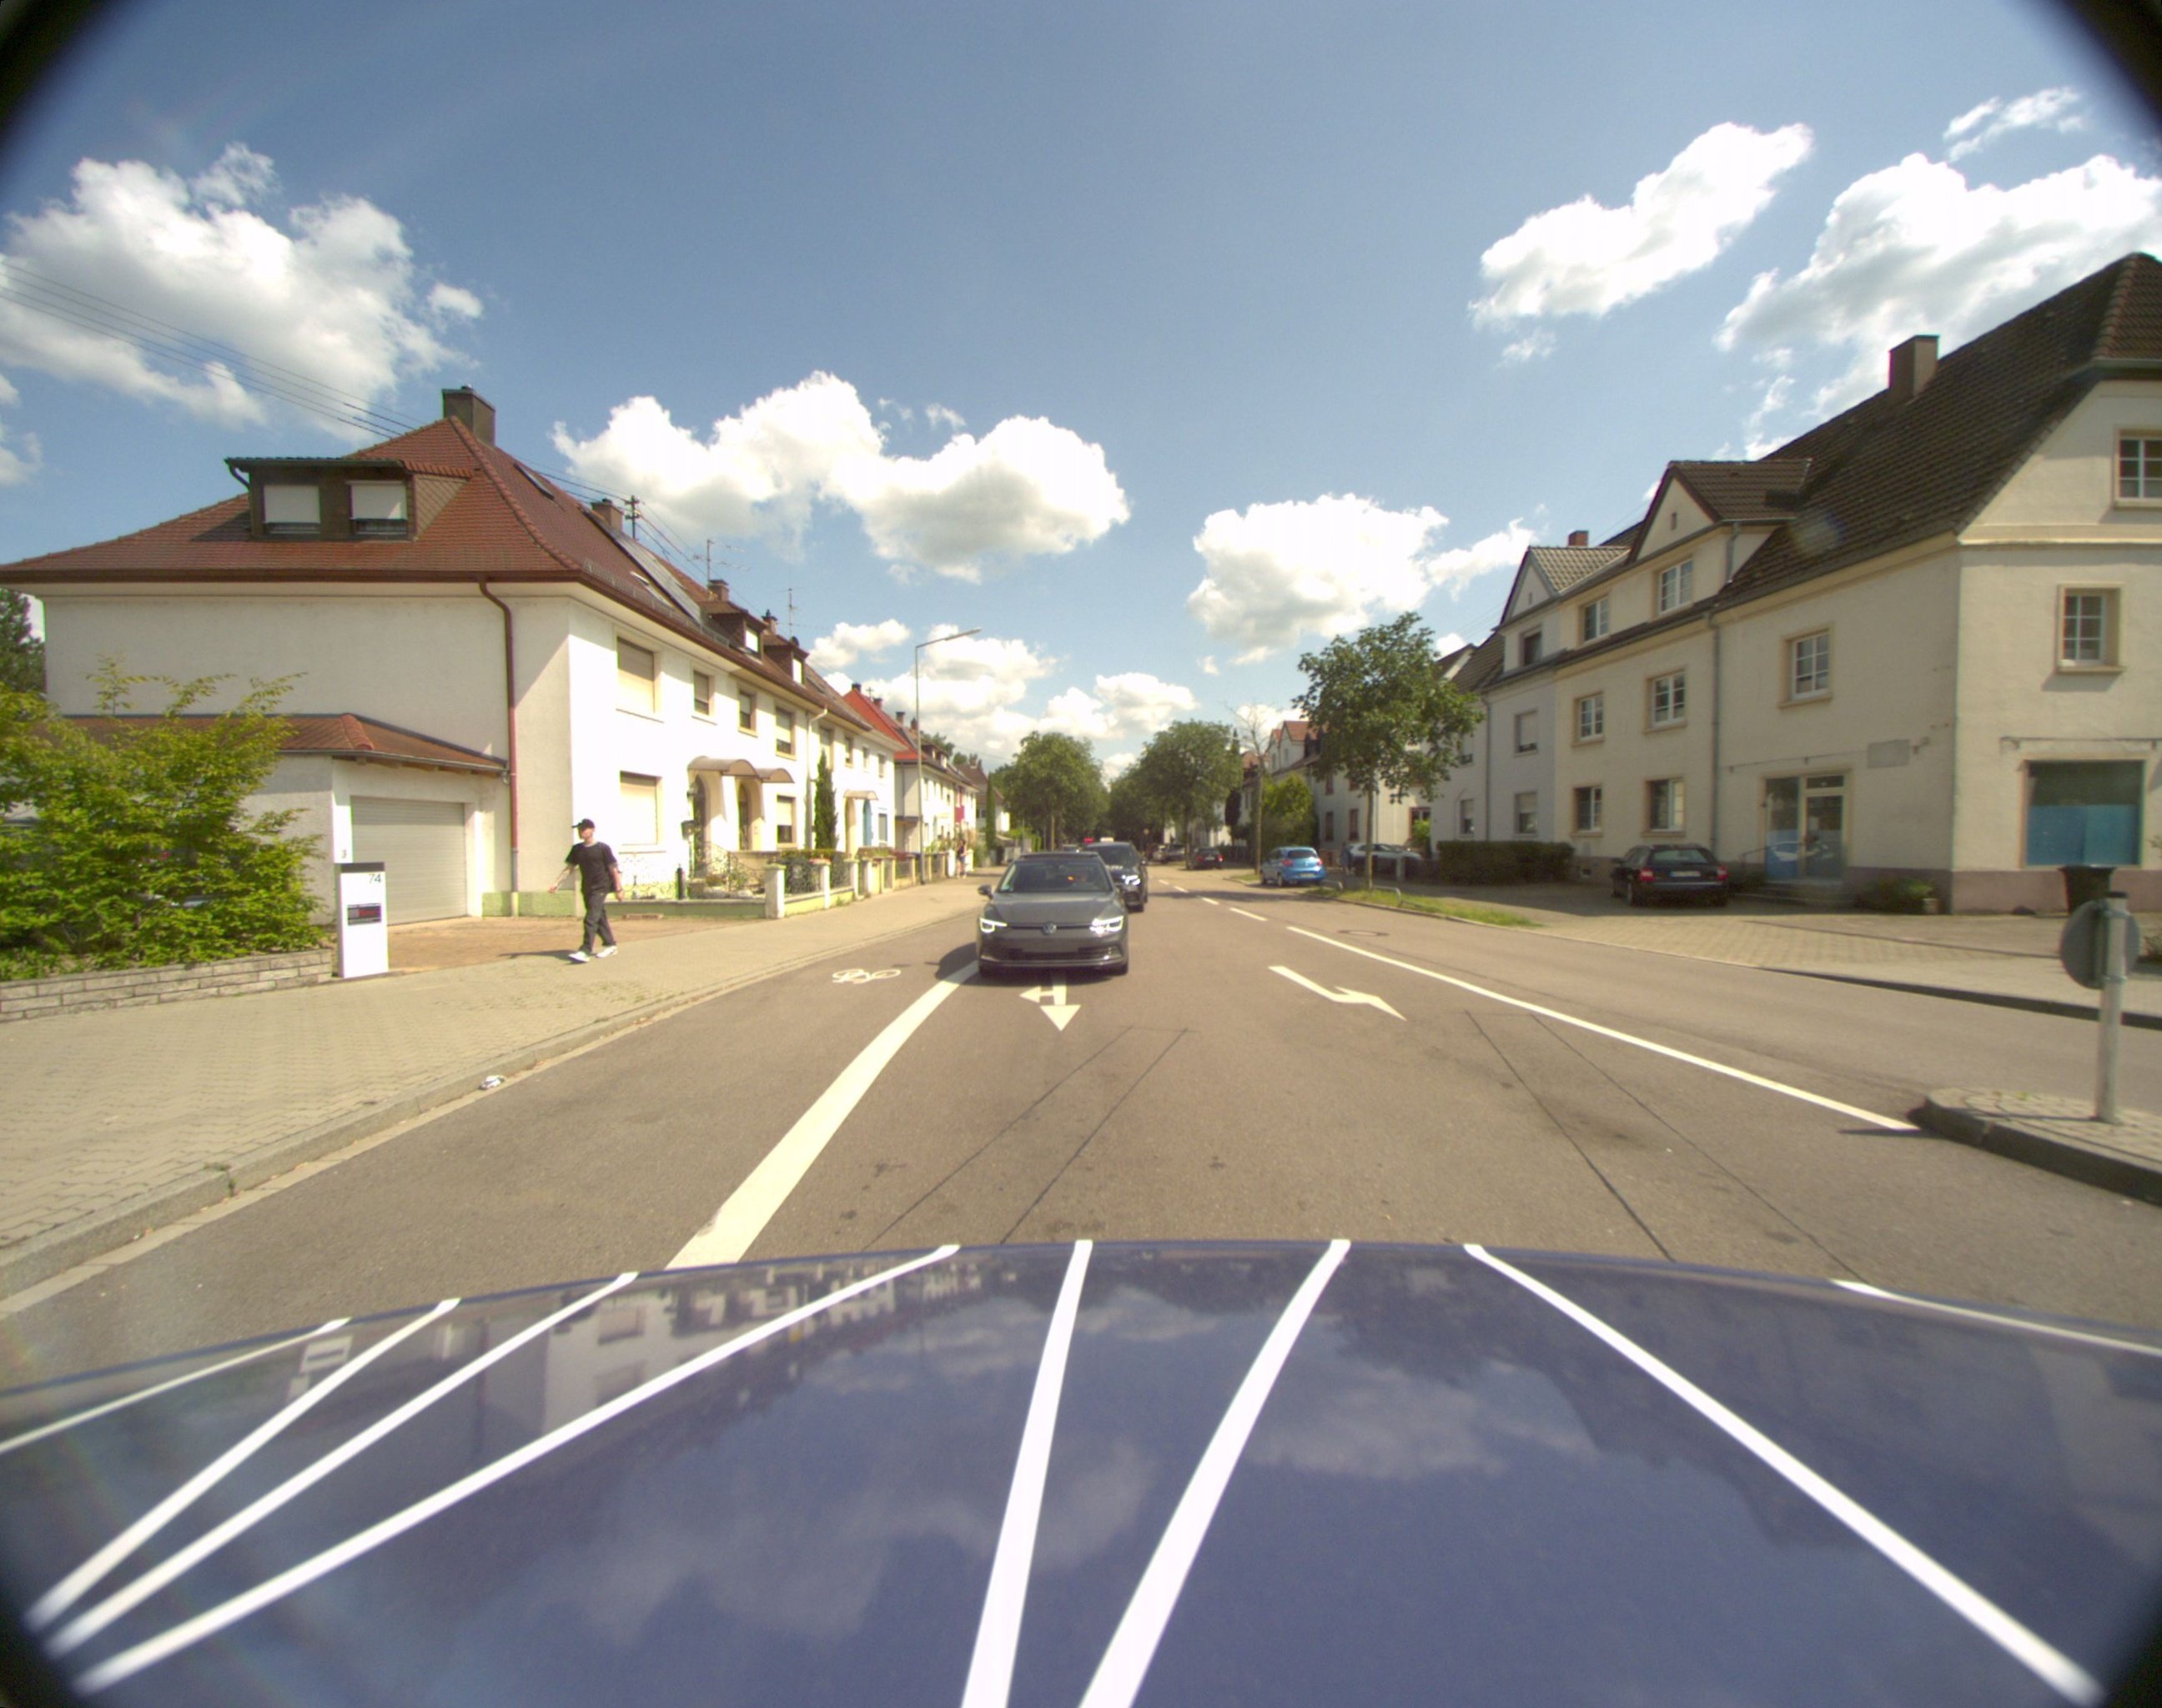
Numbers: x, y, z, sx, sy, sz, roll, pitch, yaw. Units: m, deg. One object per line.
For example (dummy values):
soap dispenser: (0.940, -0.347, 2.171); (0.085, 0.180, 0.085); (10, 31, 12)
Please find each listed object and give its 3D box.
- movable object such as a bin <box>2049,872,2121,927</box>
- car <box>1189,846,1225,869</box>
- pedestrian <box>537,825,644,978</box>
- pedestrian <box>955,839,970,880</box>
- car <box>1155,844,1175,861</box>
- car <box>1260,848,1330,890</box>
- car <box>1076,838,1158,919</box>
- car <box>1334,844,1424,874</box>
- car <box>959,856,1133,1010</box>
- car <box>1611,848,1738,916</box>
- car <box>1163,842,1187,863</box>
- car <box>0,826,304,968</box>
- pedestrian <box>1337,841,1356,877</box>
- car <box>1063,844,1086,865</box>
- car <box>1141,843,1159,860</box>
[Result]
movable object such as a bin: (18.349, 0.816, 13.895); (0.615, 0.966, 0.510); (0, 1, -1)
car: (7.604, 0.179, 46.280); (1.709, 1.289, 3.918); (0, 1, 2)
pedestrian: (-5.996, 0.543, 9.317); (0.591, 1.758, 0.939); (1, 2, 36)
pedestrian: (-4.991, 0.229, 32.094); (0.519, 1.701, 0.618); (0, 1, 1)
car: (7.293, -0.142, 66.287); (1.623, 1.417, 3.002); (-1, 1, 5)
car: (7.948, 0.508, 28.499); (1.710, 1.454, 3.154); (0, 1, -1)
car: (0.756, 0.489, 18.790); (1.776, 1.754, 4.873); (0, 1, 0)
car: (14.685, 0.217, 37.636); (3.805, 1.446, 1.711); (0, 1, 2)
car: (-0.453, 0.809, 10.088); (1.767, 1.466, 4.685); (0, 1, -3)
car: (13.893, 0.565, 18.021); (1.757, 1.378, 4.110); (0, 1, 29)
car: (7.438, -0.148, 60.280); (1.562, 1.645, 3.573); (0, 1, 2)
car: (-13.270, 0.508, 10.090); (3.996, 1.698, 1.868); (0, 1, 2)
pedestrian: (11.504, 0.216, 32.925); (0.631, 1.527, 0.618); (0, 1, 9)
car: (-0.468, 0.004, 56.549); (1.381, 1.493, 3.002); (-1, 1, 5)
car: (6.826, -0.273, 75.316); (1.562, 1.645, 3.251); (0, 1, 2)
